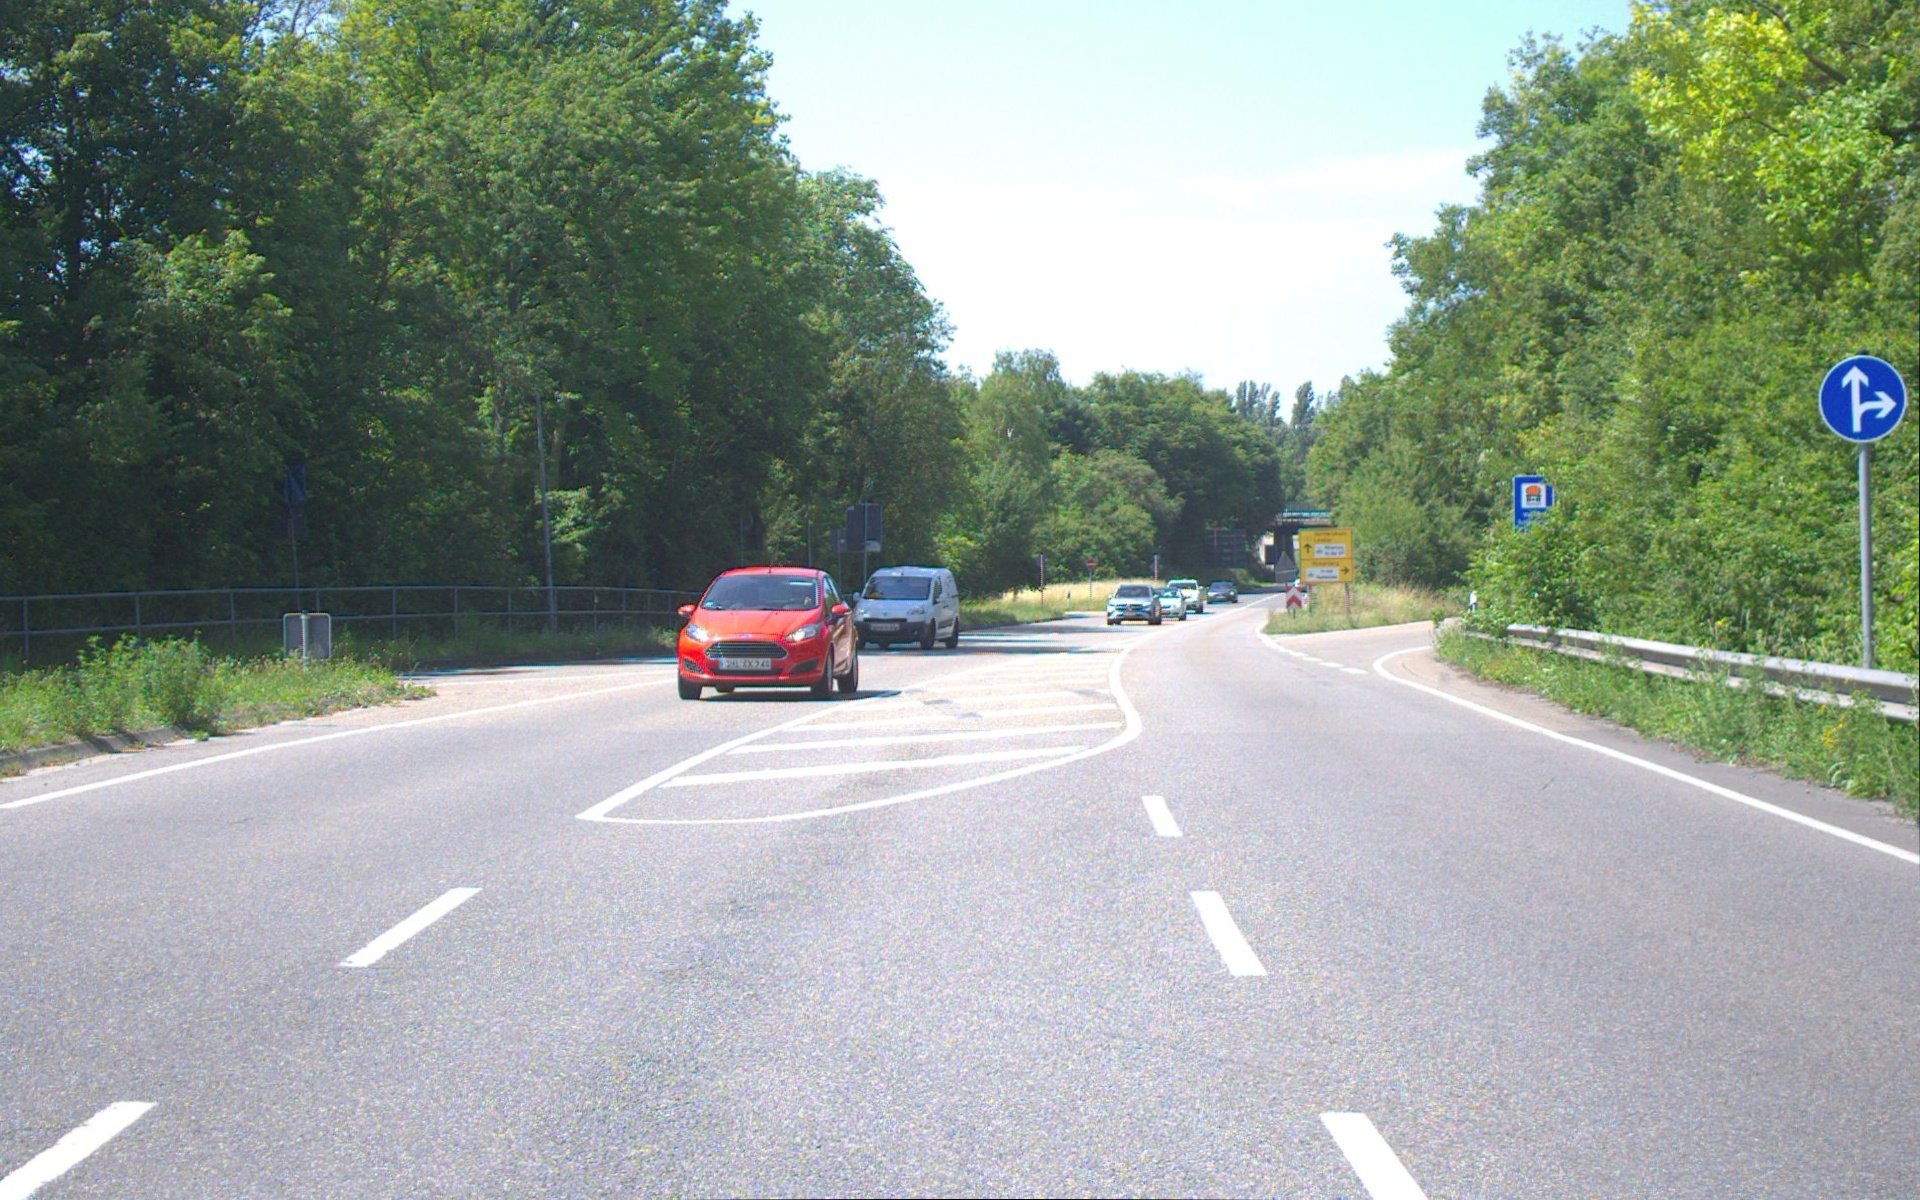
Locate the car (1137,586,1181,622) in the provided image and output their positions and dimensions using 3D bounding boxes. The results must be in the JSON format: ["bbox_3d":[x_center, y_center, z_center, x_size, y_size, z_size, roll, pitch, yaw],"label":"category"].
[{"bbox_3d":[8.873,0.147,153.261,1.678,1.522,3.999,0,1,8],"label":"car"}]

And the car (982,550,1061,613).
[{"bbox_3d":[3.170,-0.974,178.555,1.993,3.215,4.809,-1,1,-28],"label":"car"}]

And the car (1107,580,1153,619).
[{"bbox_3d":[6.842,-0.029,137.930,1.677,1.522,3.999,0,1,5],"label":"car"}]

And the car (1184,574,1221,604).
[{"bbox_3d":[12.544,-0.570,177.683,1.720,1.523,3.709,0,1,6],"label":"car"}]

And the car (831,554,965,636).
[{"bbox_3d":[-1.324,-0.132,75.157,1.994,1.724,4.272,0,1,12],"label":"car"}]

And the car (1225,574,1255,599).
[{"bbox_3d":[17.518,-0.859,215.123,1.720,1.504,3.708,0,1,7],"label":"car"}]

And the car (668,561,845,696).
[{"bbox_3d":[-2.255,0.285,38.926,1.810,1.453,3.758,0,1,-1],"label":"car"}]
